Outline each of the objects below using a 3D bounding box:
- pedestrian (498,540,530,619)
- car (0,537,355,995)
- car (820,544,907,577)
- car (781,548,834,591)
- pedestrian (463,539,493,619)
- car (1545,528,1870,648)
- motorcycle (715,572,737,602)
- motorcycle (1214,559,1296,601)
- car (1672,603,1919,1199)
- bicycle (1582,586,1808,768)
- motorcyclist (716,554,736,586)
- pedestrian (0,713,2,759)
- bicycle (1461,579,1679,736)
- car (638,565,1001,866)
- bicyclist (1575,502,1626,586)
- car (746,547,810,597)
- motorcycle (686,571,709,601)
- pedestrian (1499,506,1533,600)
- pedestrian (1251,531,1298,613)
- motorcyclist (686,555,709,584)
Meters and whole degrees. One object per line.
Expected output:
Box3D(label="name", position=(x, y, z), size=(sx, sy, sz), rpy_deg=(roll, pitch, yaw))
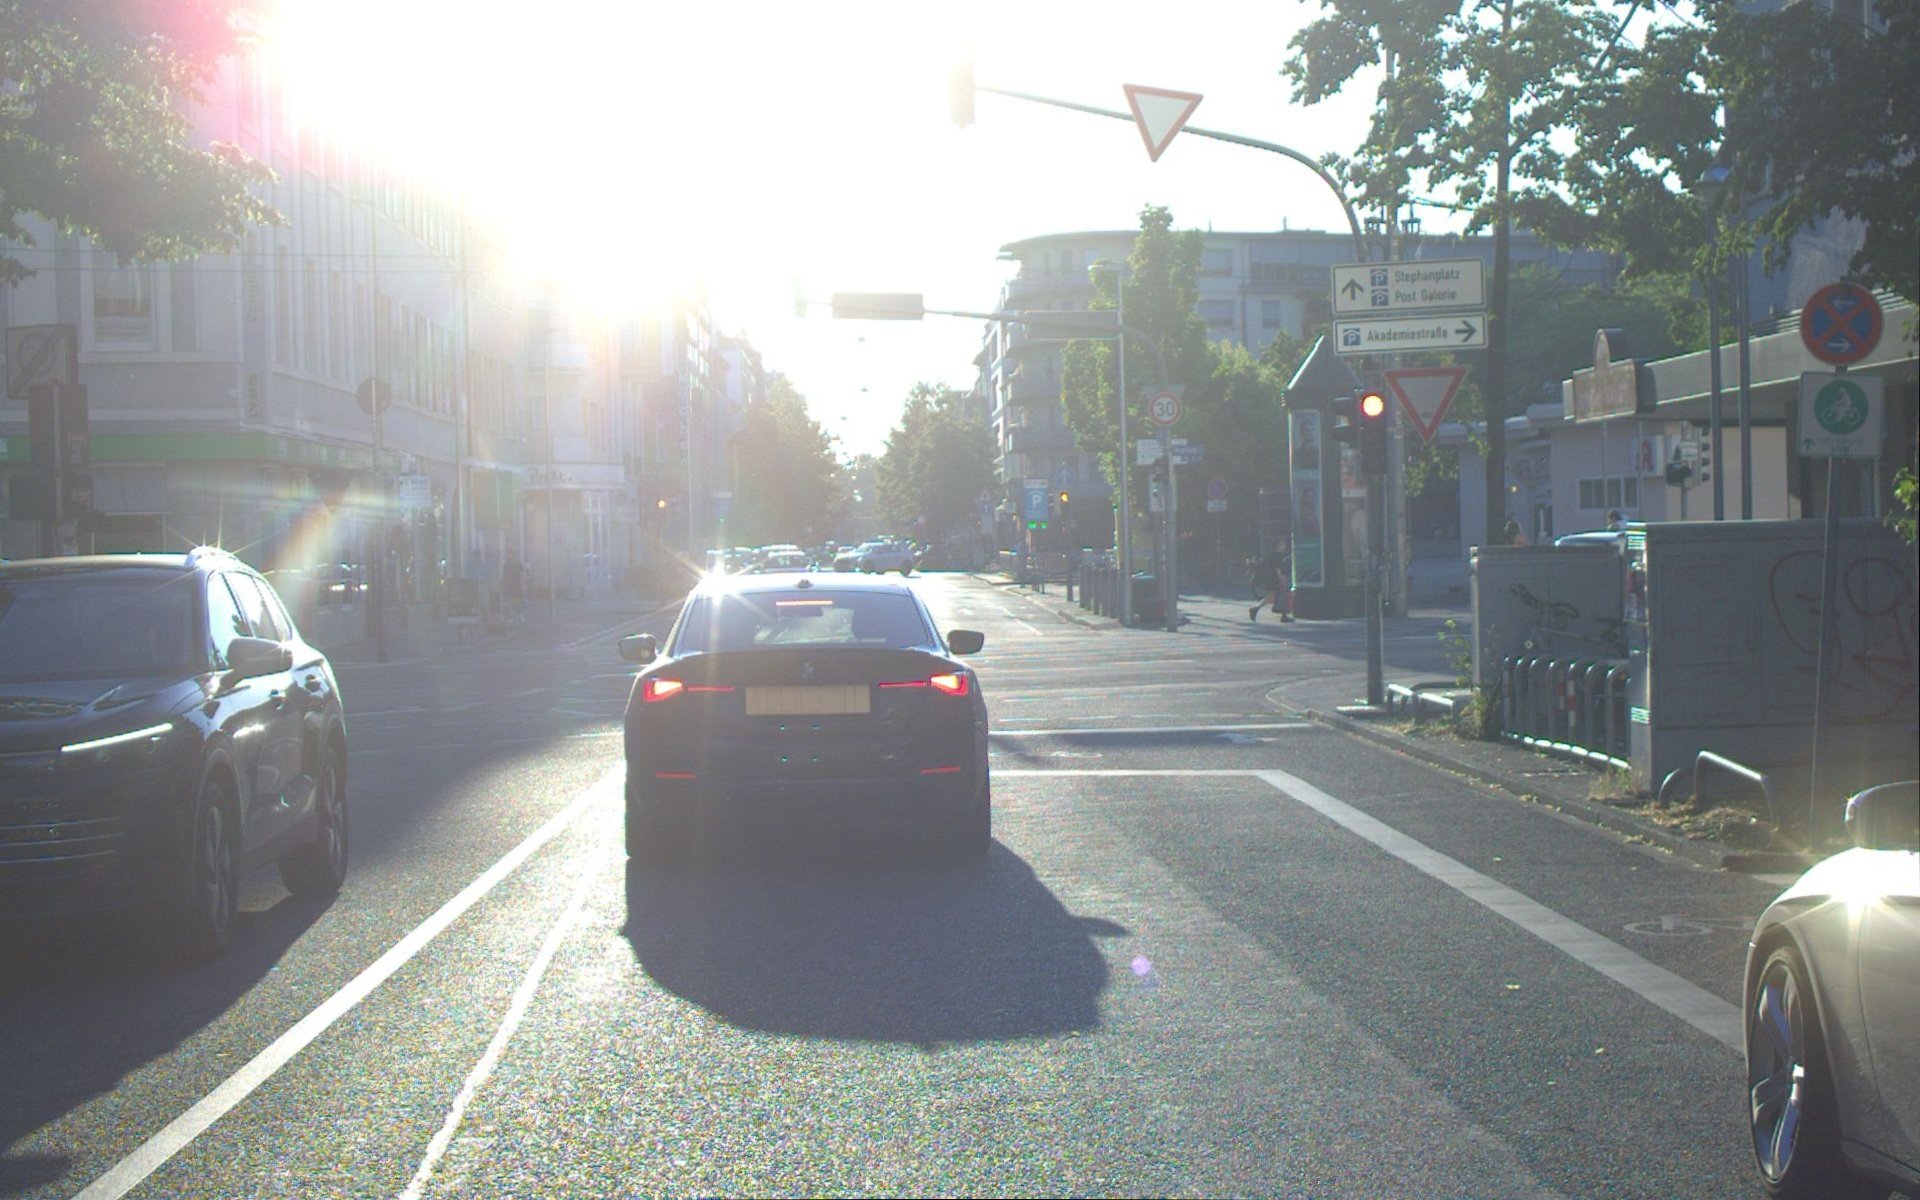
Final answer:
Box3D(label="pedestrian", position=(-10.635, -0.498, 81.927), size=(0.676, 1.870, 0.618), rpy_deg=(0, 1, -1))
Box3D(label="car", position=(-3.834, 0.591, 14.811), size=(1.730, 1.669, 4.296), rpy_deg=(-2, 1, -1))
Box3D(label="car", position=(-4.756, -1.962, 169.675), size=(3.988, 1.514, 1.823), rpy_deg=(-2, 1, -38))
Box3D(label="car", position=(-5.595, -1.147, 126.468), size=(1.818, 1.514, 4.000), rpy_deg=(-2, 1, -1))
Box3D(label="pedestrian", position=(-11.460, -0.502, 81.744), size=(0.643, 1.870, 0.632), rpy_deg=(0, 1, -1))
Box3D(label="car", position=(10.274, -0.181, 47.314), size=(3.986, 1.527, 1.804), rpy_deg=(-2, 1, -18))
Box3D(label="motorcycle", position=(-7.315, -0.423, 107.594), size=(0.575, 0.912, 2.201), rpy_deg=(0, 1, -1))
Box3D(label="motorcycle", position=(6.786, -0.462, 79.111), size=(1.668, 0.935, 0.856), rpy_deg=(-1, 1, -12))
Box3D(label="car", position=(2.749, 0.761, 6.288), size=(1.742, 1.396, 4.640), rpy_deg=(1, 1, -2))
Box3D(label="bicycle", position=(4.983, 0.517, 23.351), size=(1.441, 1.216, 0.383), rpy_deg=(0, 1, 1))
Box3D(label="motorcyclist", position=(-7.303, -0.951, 107.477), size=(0.575, 0.992, 0.702), rpy_deg=(0, 1, -1))
Box3D(label="pedestrian", position=(-9.055, 0.494, 30.383), size=(1.001, 1.854, 0.640), rpy_deg=(-3, 1, -21))
Box3D(label="bicycle", position=(4.725, 0.443, 26.665), size=(1.613, 1.167, 0.318), rpy_deg=(-1, 1, 1))
Box3D(label="car", position=(-0.753, 0.534, 18.613), size=(1.736, 1.424, 4.224), rpy_deg=(0, 1, -2))
Box3D(label="bicyclist", position=(11.311, -0.982, 60.677), size=(0.722, 1.476, 0.550), rpy_deg=(0, 0, 34))
Box3D(label="car", position=(-5.702, -0.897, 108.037), size=(1.818, 1.514, 4.000), rpy_deg=(-2, 1, -1))
Box3D(label="motorcycle", position=(-8.280, -0.441, 108.399), size=(0.575, 0.912, 2.201), rpy_deg=(0, 1, -1))
Box3D(label="pedestrian", position=(10.265, -0.866, 63.495), size=(0.442, 1.729, 0.434), rpy_deg=(0, 1, -26))
Box3D(label="pedestrian", position=(5.875, -0.526, 64.209), size=(0.732, 1.524, 0.473), rpy_deg=(0, 1, -17))
Box3D(label="motorcyclist", position=(-8.275, -0.970, 108.305), size=(0.575, 0.912, 2.201), rpy_deg=(0, 1, -1))
